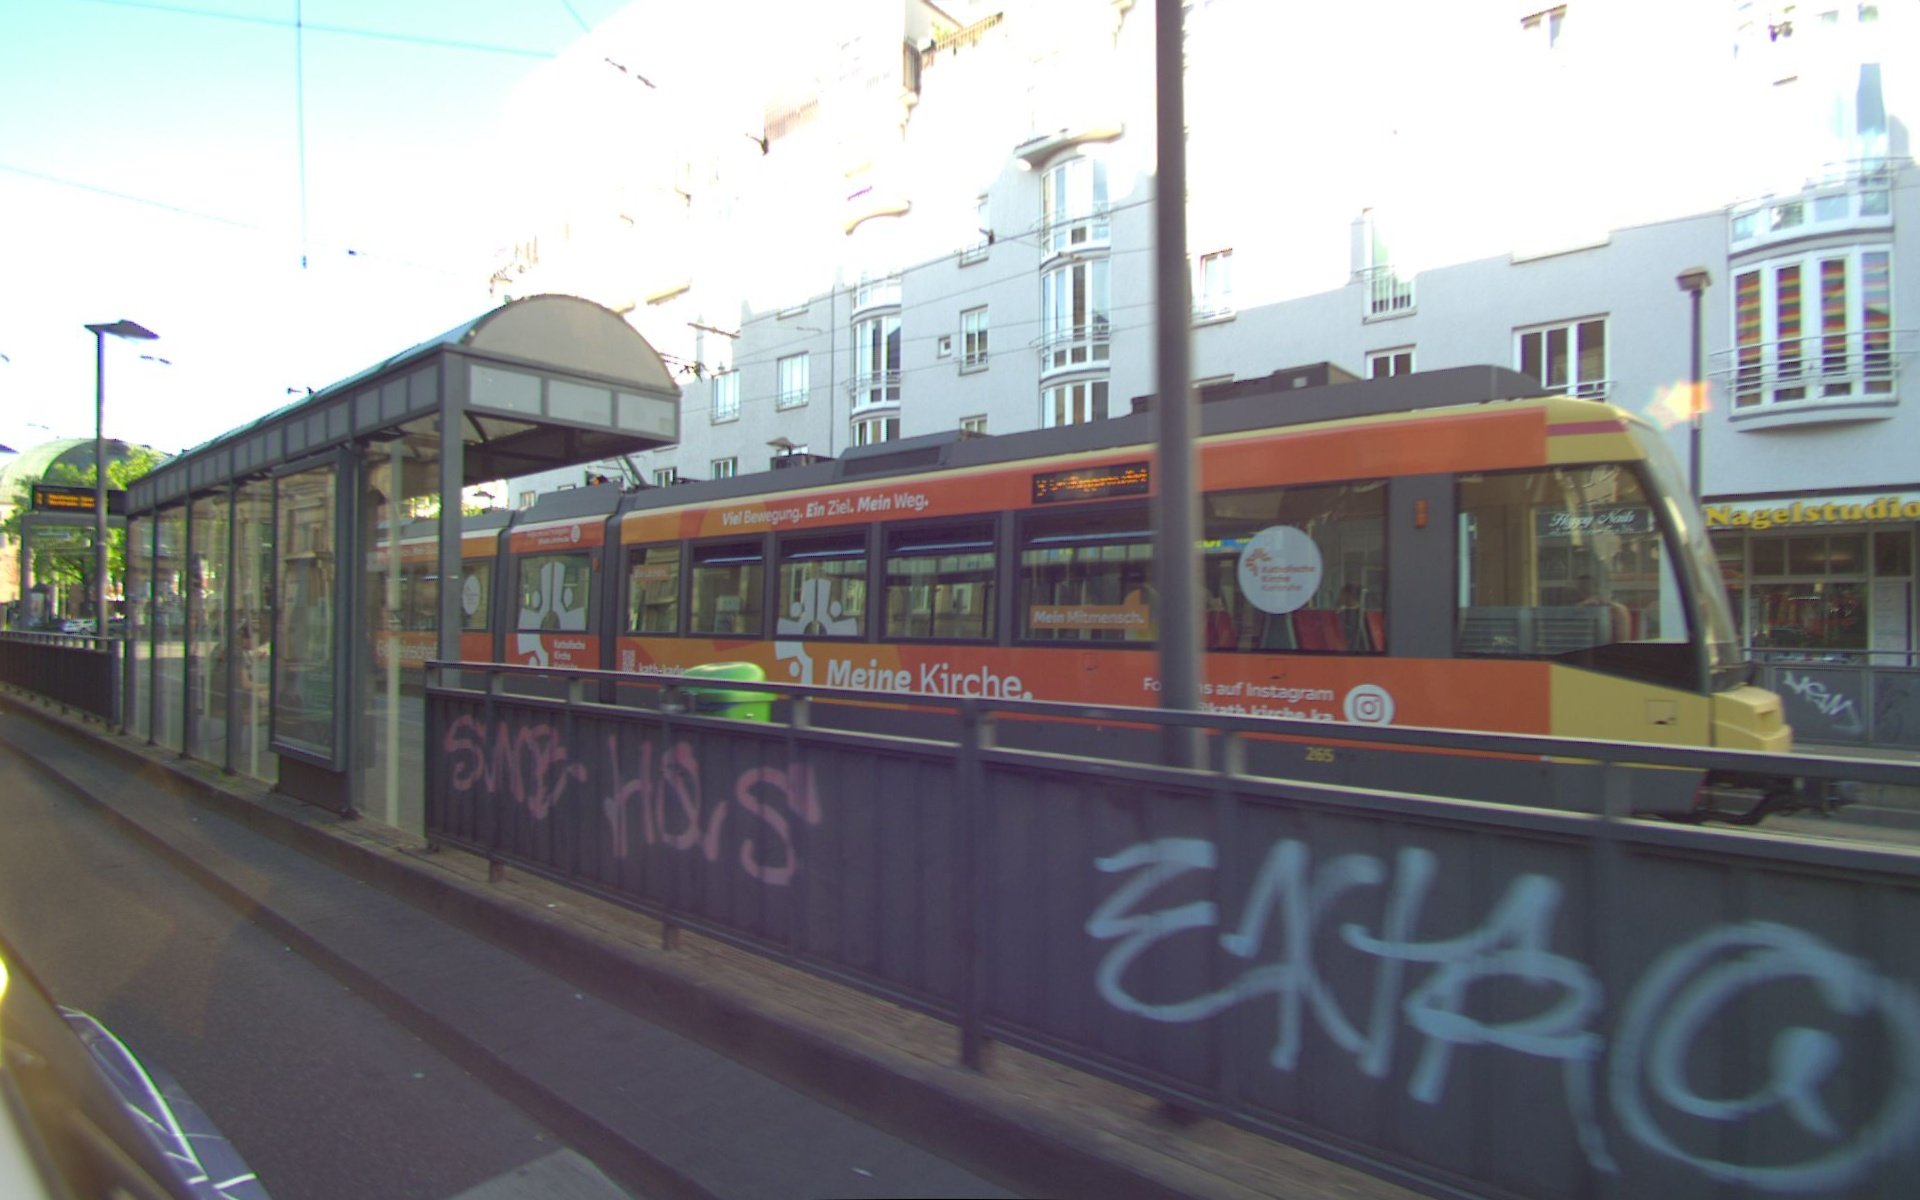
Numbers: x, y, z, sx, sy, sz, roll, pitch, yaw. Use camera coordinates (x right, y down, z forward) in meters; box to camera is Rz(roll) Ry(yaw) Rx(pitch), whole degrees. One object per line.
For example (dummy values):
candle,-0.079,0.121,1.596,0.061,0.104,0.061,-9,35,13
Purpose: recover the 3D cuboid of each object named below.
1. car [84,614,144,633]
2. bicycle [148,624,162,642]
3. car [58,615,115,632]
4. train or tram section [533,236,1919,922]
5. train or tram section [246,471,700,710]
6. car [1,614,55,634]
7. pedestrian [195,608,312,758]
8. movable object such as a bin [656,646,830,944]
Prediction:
car,-75.412,2.047,90.265,1.777,1.566,3.990,0,0,8
bicycle,-57.924,2.349,72.841,0.574,1.244,1.858,-1,0,-44
car,-83.722,2.218,97.029,1.777,1.486,3.990,0,0,8
train or tram section,0.312,-0.103,11.052,14.941,3.516,2.855,0,0,41
train or tram section,-10.675,-0.131,20.546,14.157,3.516,2.856,0,0,40
car,-99.315,2.540,107.891,1.888,1.979,3.994,0,0,5
pedestrian,-5.871,0.661,8.414,0.536,1.184,0.678,-1,-1,41
movable object such as a bin,-0.775,0.648,3.602,0.529,0.951,0.349,-1,-1,39
